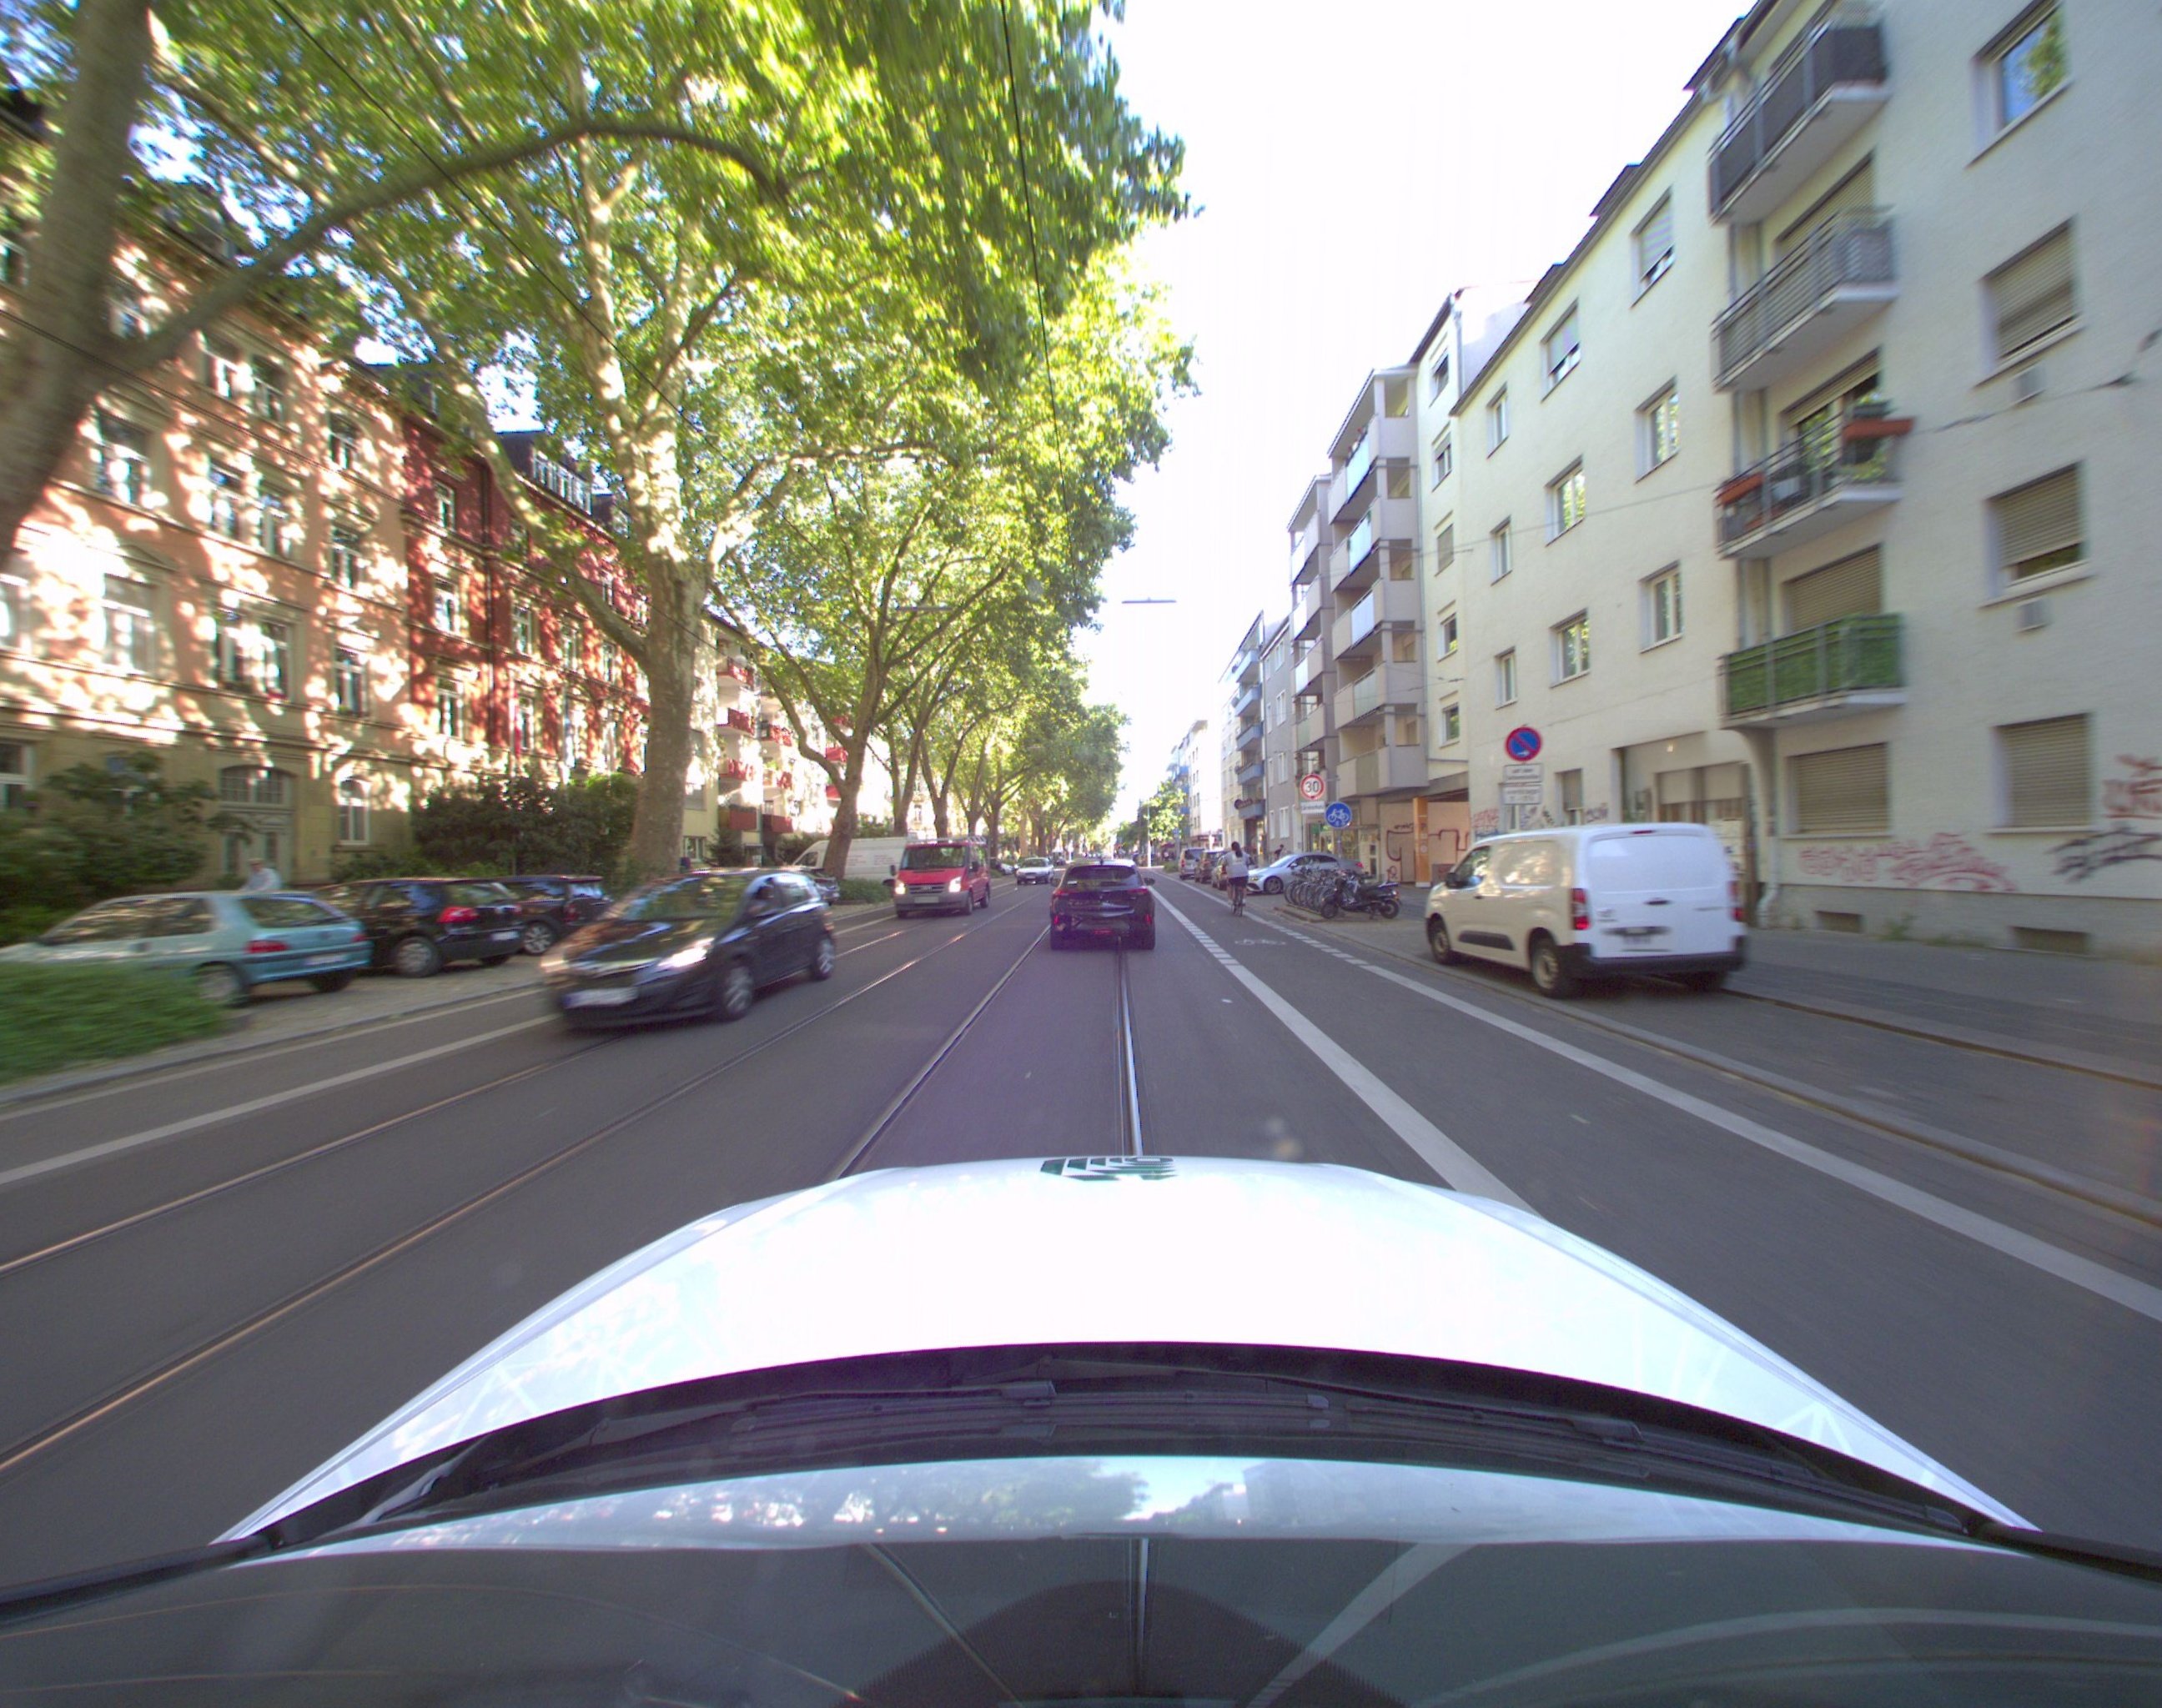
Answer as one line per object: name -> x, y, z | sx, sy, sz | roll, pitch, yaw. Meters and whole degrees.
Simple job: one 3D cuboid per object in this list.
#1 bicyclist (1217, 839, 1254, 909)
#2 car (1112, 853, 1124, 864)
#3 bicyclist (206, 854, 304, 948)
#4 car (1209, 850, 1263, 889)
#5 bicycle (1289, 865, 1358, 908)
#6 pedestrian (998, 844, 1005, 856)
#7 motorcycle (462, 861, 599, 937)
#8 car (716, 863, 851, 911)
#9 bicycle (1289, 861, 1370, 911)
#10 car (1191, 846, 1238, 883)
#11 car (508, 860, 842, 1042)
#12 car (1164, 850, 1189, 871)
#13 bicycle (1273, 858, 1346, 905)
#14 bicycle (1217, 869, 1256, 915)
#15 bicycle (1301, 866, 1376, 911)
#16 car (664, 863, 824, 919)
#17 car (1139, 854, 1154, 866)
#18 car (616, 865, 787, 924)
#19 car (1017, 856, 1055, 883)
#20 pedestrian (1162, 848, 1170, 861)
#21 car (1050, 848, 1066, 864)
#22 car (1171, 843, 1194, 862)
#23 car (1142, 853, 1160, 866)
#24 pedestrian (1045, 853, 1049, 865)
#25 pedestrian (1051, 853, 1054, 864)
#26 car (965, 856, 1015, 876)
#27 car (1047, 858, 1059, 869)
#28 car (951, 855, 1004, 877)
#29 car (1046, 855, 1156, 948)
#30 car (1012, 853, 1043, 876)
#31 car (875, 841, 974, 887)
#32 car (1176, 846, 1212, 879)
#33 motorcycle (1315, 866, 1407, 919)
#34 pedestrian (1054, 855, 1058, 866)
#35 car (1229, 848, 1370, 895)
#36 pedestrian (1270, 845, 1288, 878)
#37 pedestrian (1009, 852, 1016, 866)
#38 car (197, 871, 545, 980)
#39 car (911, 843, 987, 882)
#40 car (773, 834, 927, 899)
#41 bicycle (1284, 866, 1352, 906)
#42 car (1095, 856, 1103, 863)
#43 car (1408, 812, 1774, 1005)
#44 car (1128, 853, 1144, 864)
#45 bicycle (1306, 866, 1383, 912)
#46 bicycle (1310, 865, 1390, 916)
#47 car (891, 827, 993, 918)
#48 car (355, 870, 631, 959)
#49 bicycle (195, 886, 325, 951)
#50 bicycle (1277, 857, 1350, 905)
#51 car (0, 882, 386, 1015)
bicyclist -> 3.983, 0.516, 21.068 | 0.783, 1.759, 0.915 | -1, -1, 1
car -> 5.784, 0.723, 127.469 | 1.850, 1.651, 4.004 | -2, 0, 4
bicyclist -> -16.291, 0.901, 16.097 | 0.827, 1.763, 1.049 | -1, 0, 2
car -> 6.600, 0.613, 35.047 | 1.717, 1.525, 4.517 | -1, 0, 4
bicycle -> 6.381, 0.848, 21.477 | 1.646, 1.020, 0.457 | -3, 0, 1
pedestrian -> -10.587, -0.517, 108.758 | 0.845, 1.632, 0.643 | -2, 0, -4
motorcycle -> -12.754, 0.982, 19.063 | 1.048, 1.631, 3.013 | 0, -1, 2
car -> -9.798, 1.079, 26.983 | 3.792, 1.432, 1.706 | -1, 0, 4
bicycle -> 6.321, 0.796, 20.780 | 1.787, 1.148, 0.705 | -3, 0, 1
car -> 6.752, 0.511, 41.661 | 1.760, 1.705, 4.284 | -2, 0, 1
car -> -4.088, 0.861, 8.965 | 1.712, 1.510, 3.723 | -2, 0, 1
car -> 7.972, 0.538, 68.029 | 1.850, 1.651, 4.004 | -2, 0, 4
bicycle -> 6.430, 0.763, 22.974 | 1.885, 1.191, 0.457 | -3, 0, 1
bicycle -> 4.003, 0.954, 21.098 | 0.698, 1.092, 1.991 | 0, -1, 2
bicycle -> 6.328, 0.851, 20.026 | 1.646, 0.987, 0.457 | -3, 0, 1
car -> -10.038, 1.096, 24.461 | 3.971, 1.496, 1.831 | -2, 0, 2
car -> 8.438, 0.724, 105.467 | 1.712, 1.490, 3.682 | -2, 0, 1
car -> -10.104, 1.050, 21.854 | 3.778, 1.460, 1.705 | -1, 0, 2
car -> -2.386, 0.792, 44.025 | 1.712, 1.359, 4.470 | -2, 0, 0
pedestrian -> 11.451, 0.085, 109.975 | 0.760, 1.748, 0.800 | -2, 0, 28
car -> -3.728, 0.309, 132.833 | 2.084, 2.584, 5.999 | -2, 0, 2
car -> 9.297, -0.166, 74.613 | 1.850, 1.651, 4.004 | -2, 0, 4
car -> 8.604, 0.666, 99.998 | 1.713, 1.574, 4.082 | -2, 0, -2
pedestrian -> -4.868, 0.727, 116.474 | 0.505, 1.583, 0.526 | -1, 0, -2
pedestrian -> -4.135, 0.622, 116.906 | 0.345, 1.583, 0.508 | -1, 0, 0
car -> -7.618, 1.018, 68.437 | 3.973, 1.522, 1.771 | -1, 0, 0
car -> -4.331, 1.442, 125.634 | 1.749, 1.508, 3.998 | -2, 0, -1
car -> -8.312, 0.928, 65.764 | 3.973, 1.647, 1.894 | -1, 0, 0
car -> 0.359, 0.728, 14.259 | 1.673, 1.422, 3.629 | 0, 0, 2
car -> -4.310, 0.814, 66.107 | 1.986, 1.700, 4.487 | -3, 0, 2
car -> -9.230, 0.583, 48.341 | 5.339, 2.477, 2.058 | -2, 0, 2
car -> 6.940, 0.476, 50.460 | 1.850, 1.890, 4.929 | -2, 0, 4
motorcycle -> 6.178, 0.854, 17.982 | 1.801, 1.080, 0.621 | -3, -1, 25
pedestrian -> -3.537, 0.920, 116.609 | 0.505, 1.583, 0.527 | -1, 0, 1
car -> 8.005, 0.609, 29.992 | 4.613, 1.437, 1.859 | -3, 0, -9
pedestrian -> 10.599, 0.378, 43.629 | 0.753, 1.720, 0.720 | -2, 0, 0
pedestrian -> -9.291, 0.667, 110.533 | 0.903, 1.869, 0.643 | -2, 0, -4
car -> -10.971, 1.070, 12.766 | 3.969, 1.460, 1.772 | -2, 0, 4
car -> -9.229, 0.562, 57.253 | 4.929, 2.567, 2.081 | -2, 0, -2
car -> -9.510, 0.482, 33.919 | 5.718, 2.536, 2.164 | -1, 0, 2
bicycle -> 6.389, 0.852, 21.983 | 1.646, 0.966, 0.457 | -3, 0, 1
car -> 4.231, 1.281, 190.009 | 1.742, 1.651, 4.004 | -2, 0, 4
car -> 5.796, 0.525, 10.045 | 1.852, 1.820, 4.352 | -1, 0, 1
car -> 8.424, 0.672, 124.310 | 1.988, 1.640, 3.997 | -2, 0, -2
bicycle -> 6.312, 0.844, 19.516 | 1.646, 0.987, 0.457 | -3, 0, 1
bicycle -> 6.235, 0.840, 18.923 | 1.646, 1.055, 0.457 | -3, 0, 1
car -> -3.741, 0.468, 22.871 | 1.911, 2.227, 4.960 | -2, 0, 0
car -> -10.909, 1.096, 15.283 | 3.969, 1.460, 1.706 | -2, 0, 4
bicycle -> -16.326, 1.257, 16.264 | 0.739, 1.138, 1.781 | -1, 0, 2
bicycle -> 6.412, 0.744, 22.475 | 1.816, 1.191, 0.457 | -3, 0, 1
car -> -11.295, 1.110, 10.035 | 3.976, 1.369, 1.604 | -2, 0, -2
